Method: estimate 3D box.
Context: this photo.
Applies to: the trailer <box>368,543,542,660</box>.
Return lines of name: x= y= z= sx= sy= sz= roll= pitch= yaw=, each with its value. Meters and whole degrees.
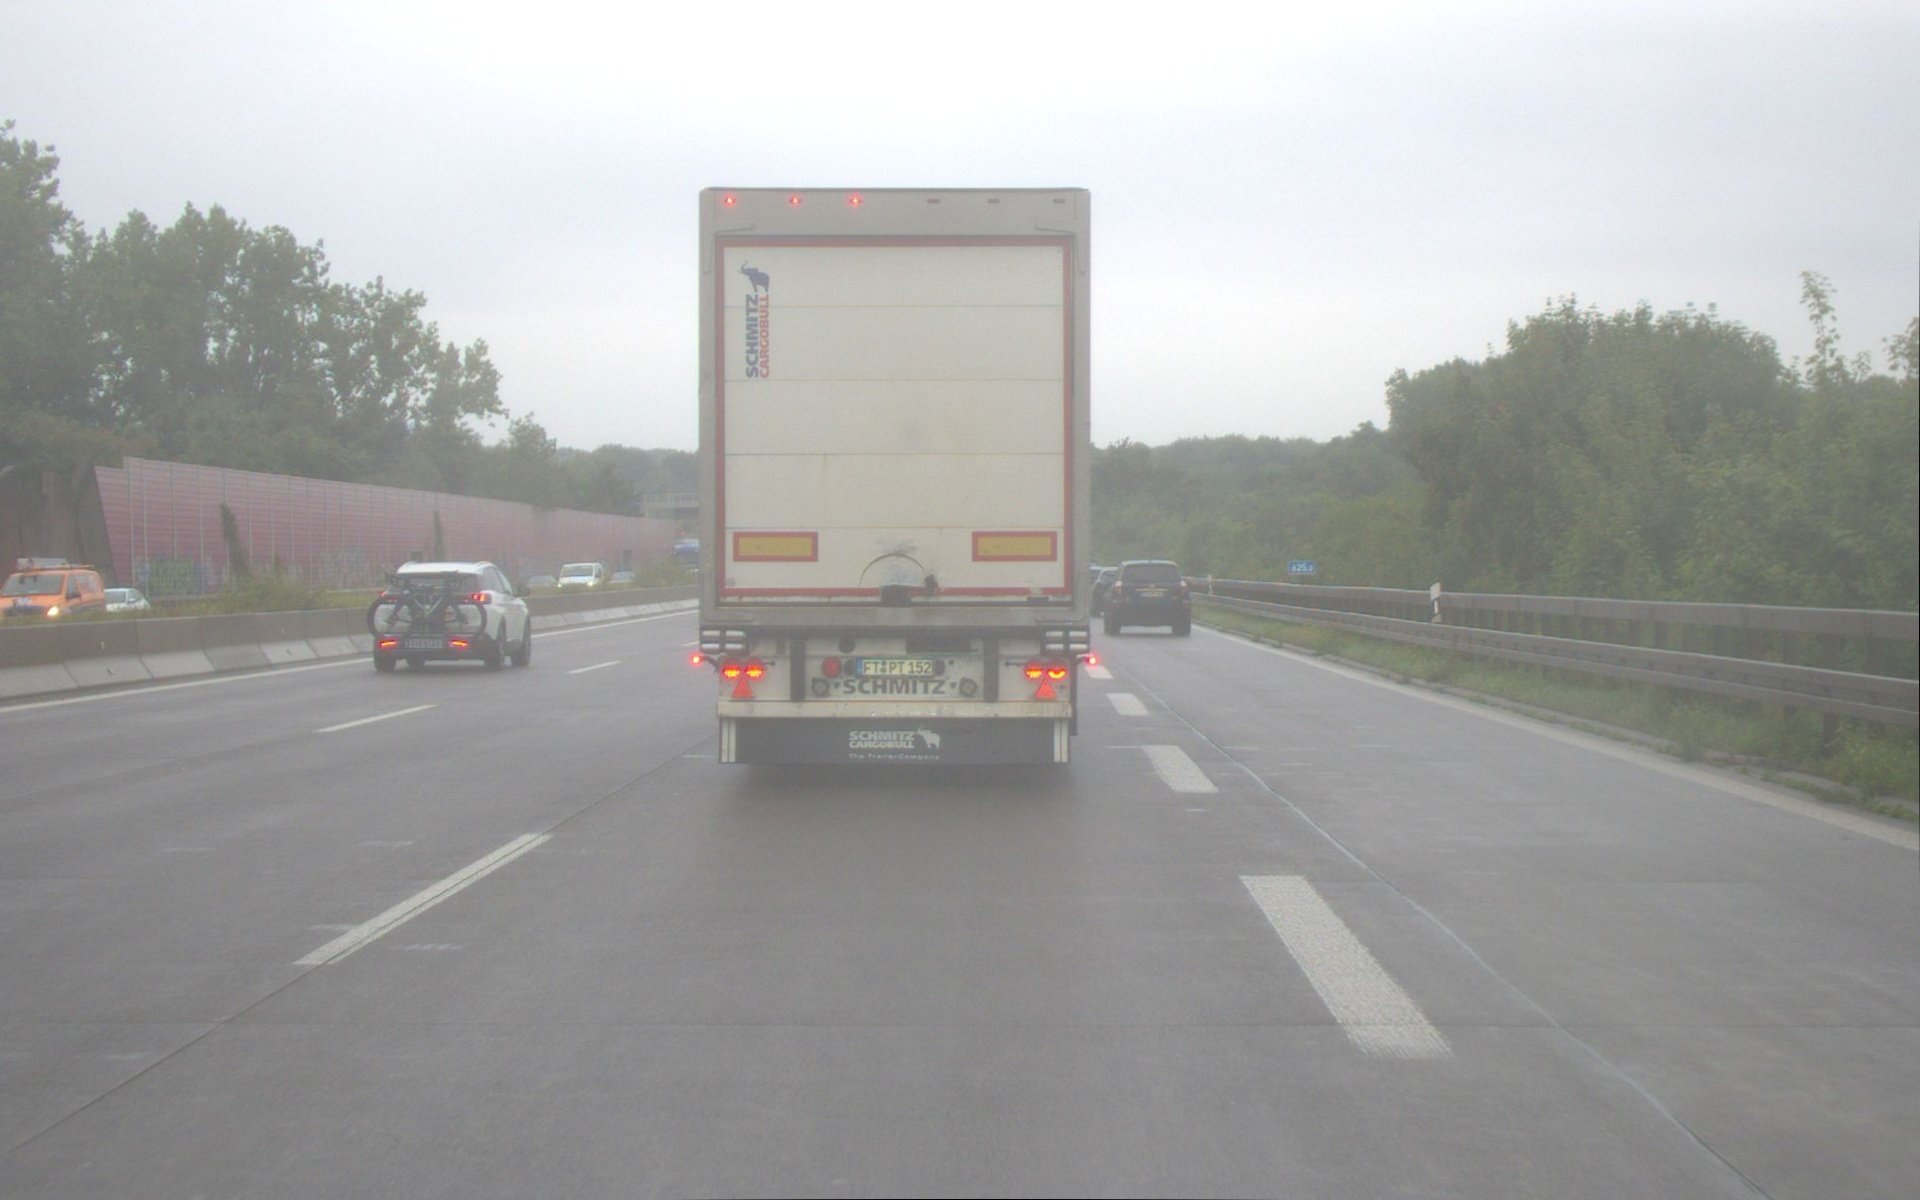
trailer: x=-7.370 y=-0.017 z=50.567 sx=1.815 sy=1.619 sz=4.568 roll=0 pitch=1 yaw=1

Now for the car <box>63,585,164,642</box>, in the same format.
car: x=-26.505 y=0.415 z=107.801 sx=1.993 sy=1.733 sz=4.397 roll=0 pitch=1 yaw=1

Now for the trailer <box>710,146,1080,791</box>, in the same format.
trailer: x=-0.326 y=-0.945 z=29.683 sx=2.342 sy=4.143 sz=14.827 roll=-1 pitch=1 yaw=1

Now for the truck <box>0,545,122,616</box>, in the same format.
truck: x=-22.855 y=-0.505 z=86.986 sx=1.993 sy=1.733 sz=5.016 roll=0 pitch=1 yaw=1

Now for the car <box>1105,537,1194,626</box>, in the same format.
car: x=4.258 y=-0.433 z=77.765 sx=1.897 sy=1.943 sz=4.000 roll=1 pitch=1 yaw=2
